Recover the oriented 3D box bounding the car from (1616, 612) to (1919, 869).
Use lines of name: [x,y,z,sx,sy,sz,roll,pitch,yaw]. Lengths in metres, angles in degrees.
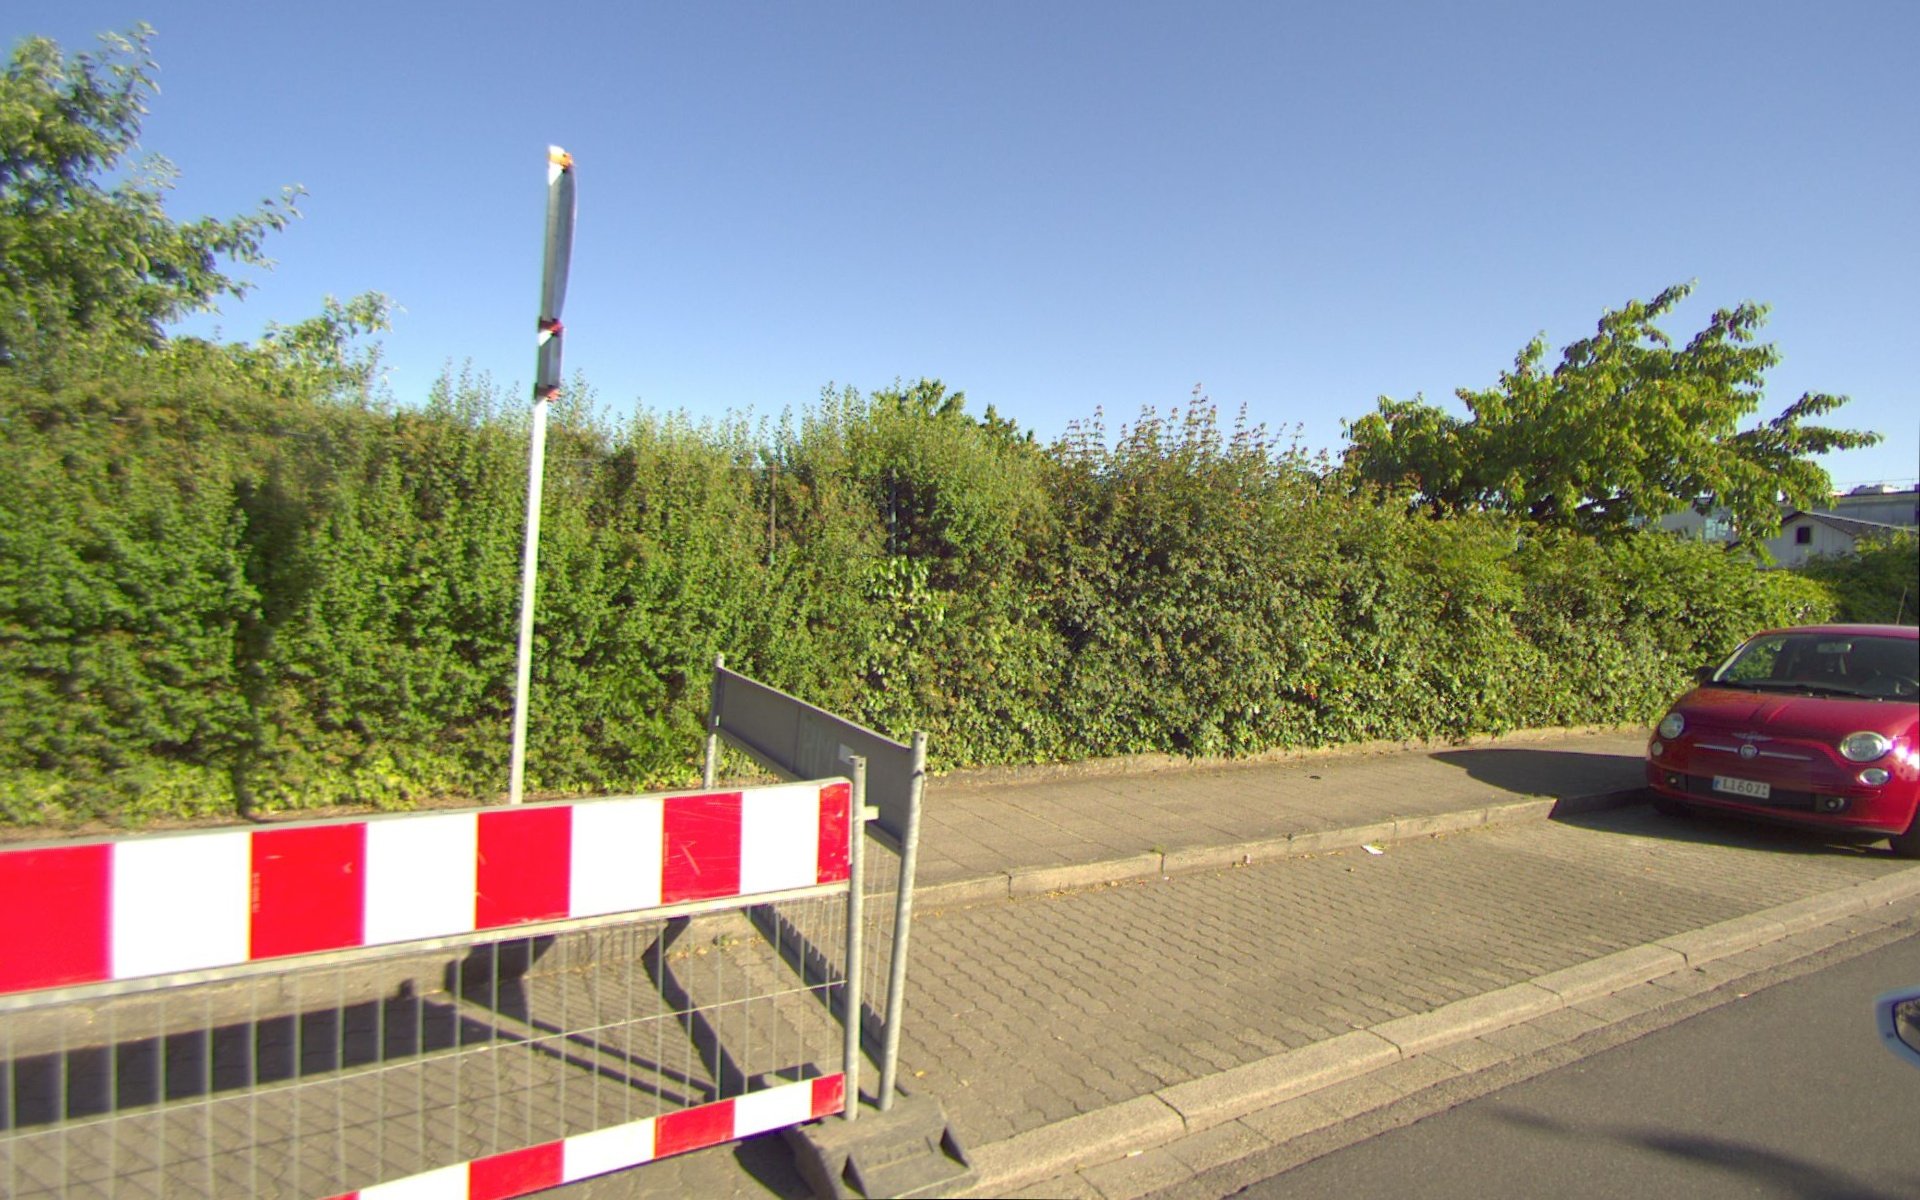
car: [6.761,0.907,7.635,3.529,1.514,1.552,2,0,-31]
